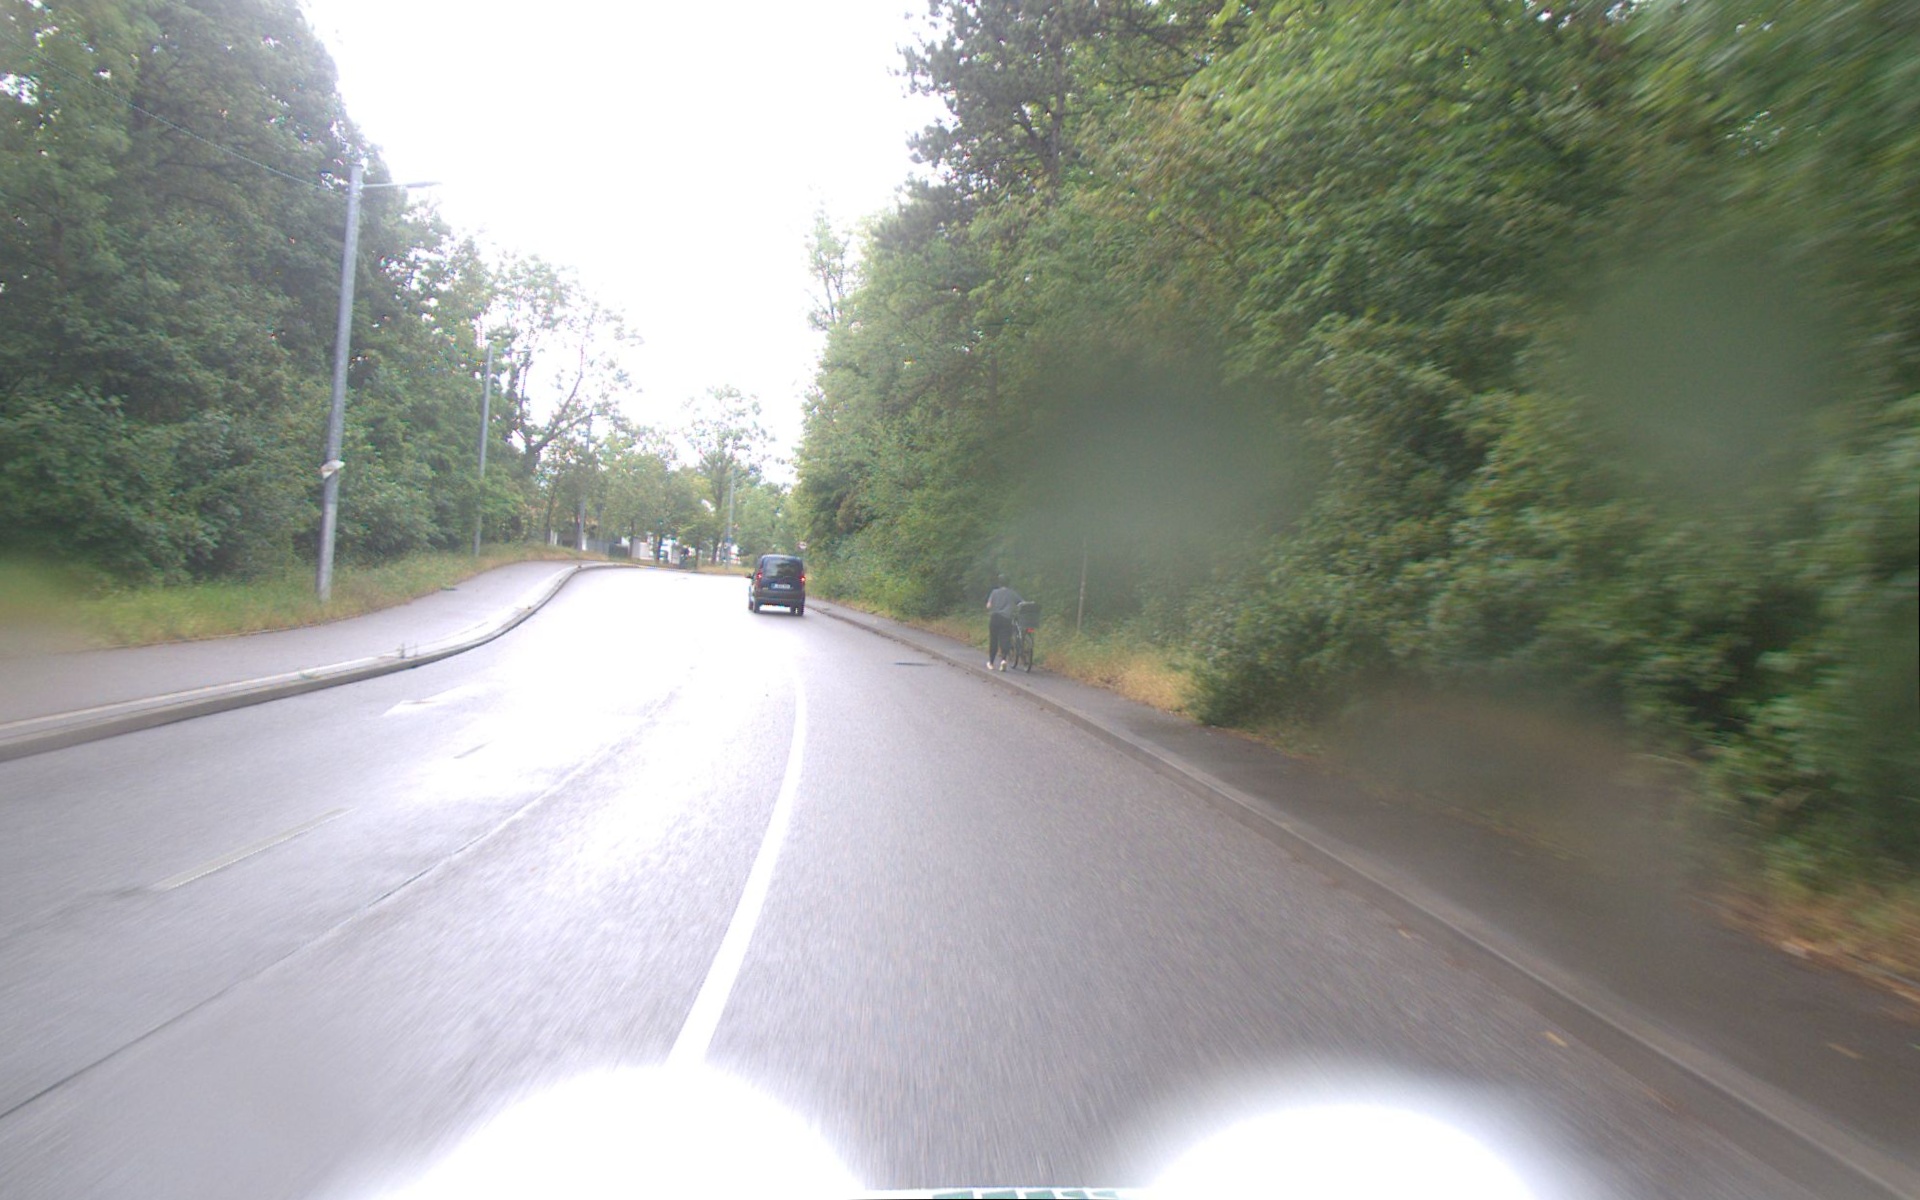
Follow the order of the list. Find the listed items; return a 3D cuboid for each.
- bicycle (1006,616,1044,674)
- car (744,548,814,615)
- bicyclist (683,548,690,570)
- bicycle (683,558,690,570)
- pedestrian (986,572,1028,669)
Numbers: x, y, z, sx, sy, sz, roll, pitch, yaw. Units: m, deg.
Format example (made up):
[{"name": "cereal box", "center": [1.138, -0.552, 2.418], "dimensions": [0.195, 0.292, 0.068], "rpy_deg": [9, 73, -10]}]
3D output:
[{"name": "bicycle", "center": [1.097, 0.741, 28.007], "dimensions": [0.349, 0.863, 1.740], "rpy_deg": [-1, 2, -8]}, {"name": "car", "center": [-5.904, -0.636, 53.639], "dimensions": [1.795, 1.824, 3.991], "rpy_deg": [5, 3, -12]}, {"name": "bicyclist", "center": [-19.943, -2.989, 120.666], "dimensions": [0.329, 1.601, 1.296], "rpy_deg": [3, 1, -7]}, {"name": "bicycle", "center": [-19.951, -2.644, 120.658], "dimensions": [0.349, 0.863, 2.090], "rpy_deg": [3, 2, -8]}, {"name": "pedestrian", "center": [0.790, 0.356, 27.862], "dimensions": [0.553, 1.605, 0.768], "rpy_deg": [1, -2, -8]}]
